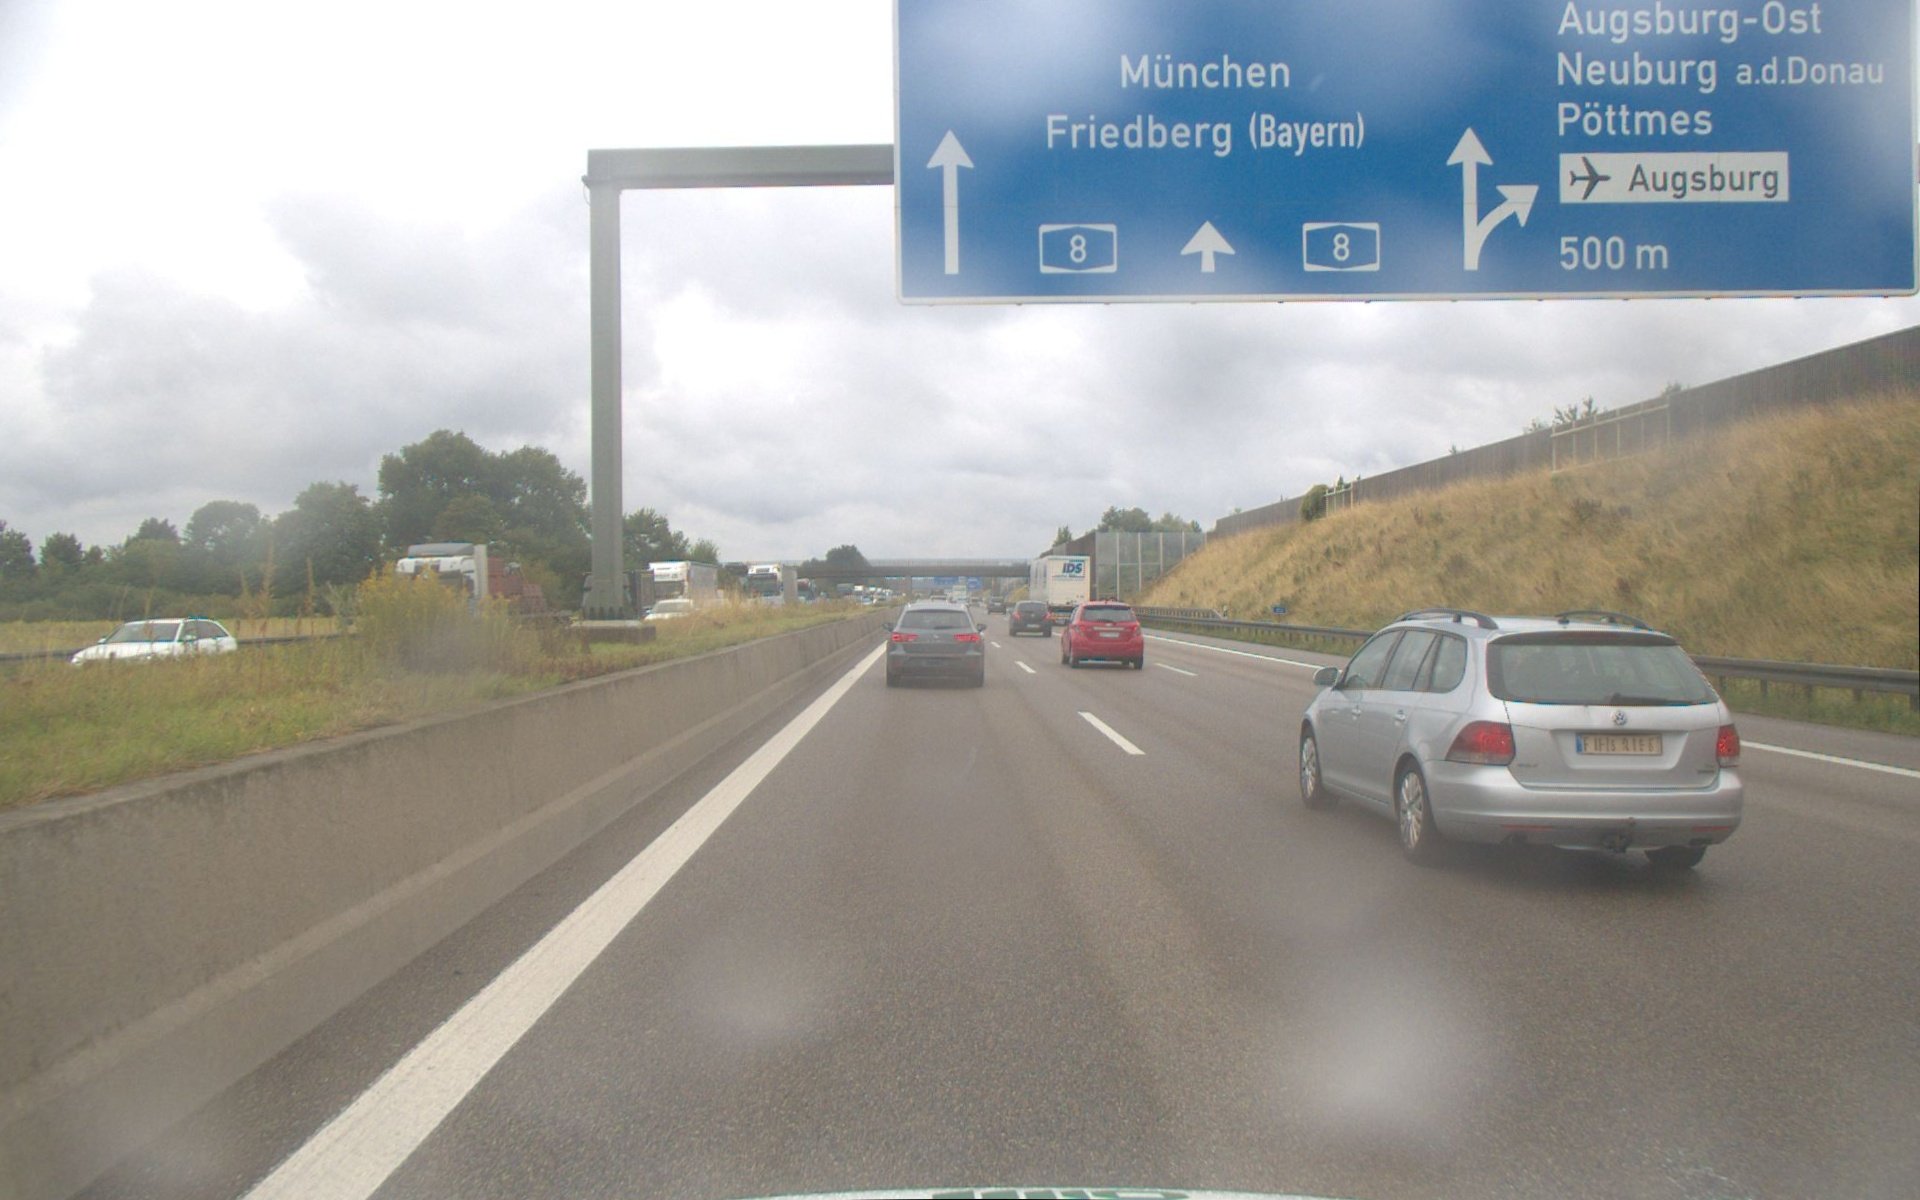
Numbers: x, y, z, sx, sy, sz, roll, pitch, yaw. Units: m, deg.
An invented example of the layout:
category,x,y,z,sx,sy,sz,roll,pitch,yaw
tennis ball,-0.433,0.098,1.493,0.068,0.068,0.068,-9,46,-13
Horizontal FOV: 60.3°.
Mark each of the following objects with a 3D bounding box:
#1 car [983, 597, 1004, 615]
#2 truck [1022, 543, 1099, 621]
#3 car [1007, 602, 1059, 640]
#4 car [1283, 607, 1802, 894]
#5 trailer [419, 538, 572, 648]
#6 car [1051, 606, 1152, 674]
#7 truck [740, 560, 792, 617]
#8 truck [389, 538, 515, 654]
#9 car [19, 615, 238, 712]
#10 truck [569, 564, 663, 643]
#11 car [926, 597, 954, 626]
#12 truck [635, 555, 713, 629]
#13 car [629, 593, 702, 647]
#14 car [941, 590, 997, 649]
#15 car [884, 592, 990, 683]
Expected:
category,x,y,z,sx,sy,sz,roll,pitch,yaw
car,3.228,0.557,160.339,1.808,1.716,3.998,1,0,-2
truck,6.137,-0.976,104.439,3.217,4.370,19.027,1,0,-1
car,3.050,0.860,69.817,1.882,1.548,4.621,0,0,-2
car,3.472,0.789,10.847,1.706,1.450,4.515,0,0,-2
trailer,-17.734,-0.357,64.102,2.587,3.790,12.192,1,1,-1
car,3.274,0.904,39.063,1.853,1.472,4.683,0,0,-2
truck,-14.137,-0.798,120.800,3.029,4.045,6.370,1,0,-1
truck,-17.654,-0.183,57.800,2.587,3.790,5.871,1,1,-1
car,-16.561,1.206,33.253,1.953,1.747,4.836,1,0,-1
truck,-13.690,0.159,66.352,2.264,2.959,7.422,1,0,-1
car,-1.322,0.743,108.739,1.670,1.828,3.853,-2,0,-3
truck,-17.799,-0.448,103.550,3.542,4.349,7.590,1,0,-1
car,-9.956,0.666,56.174,1.745,1.747,3.999,1,0,-1
car,0.269,0.633,55.729,1.789,1.882,3.999,-1,0,-1
car,-0.461,0.638,29.624,1.733,1.493,3.998,1,0,-2
